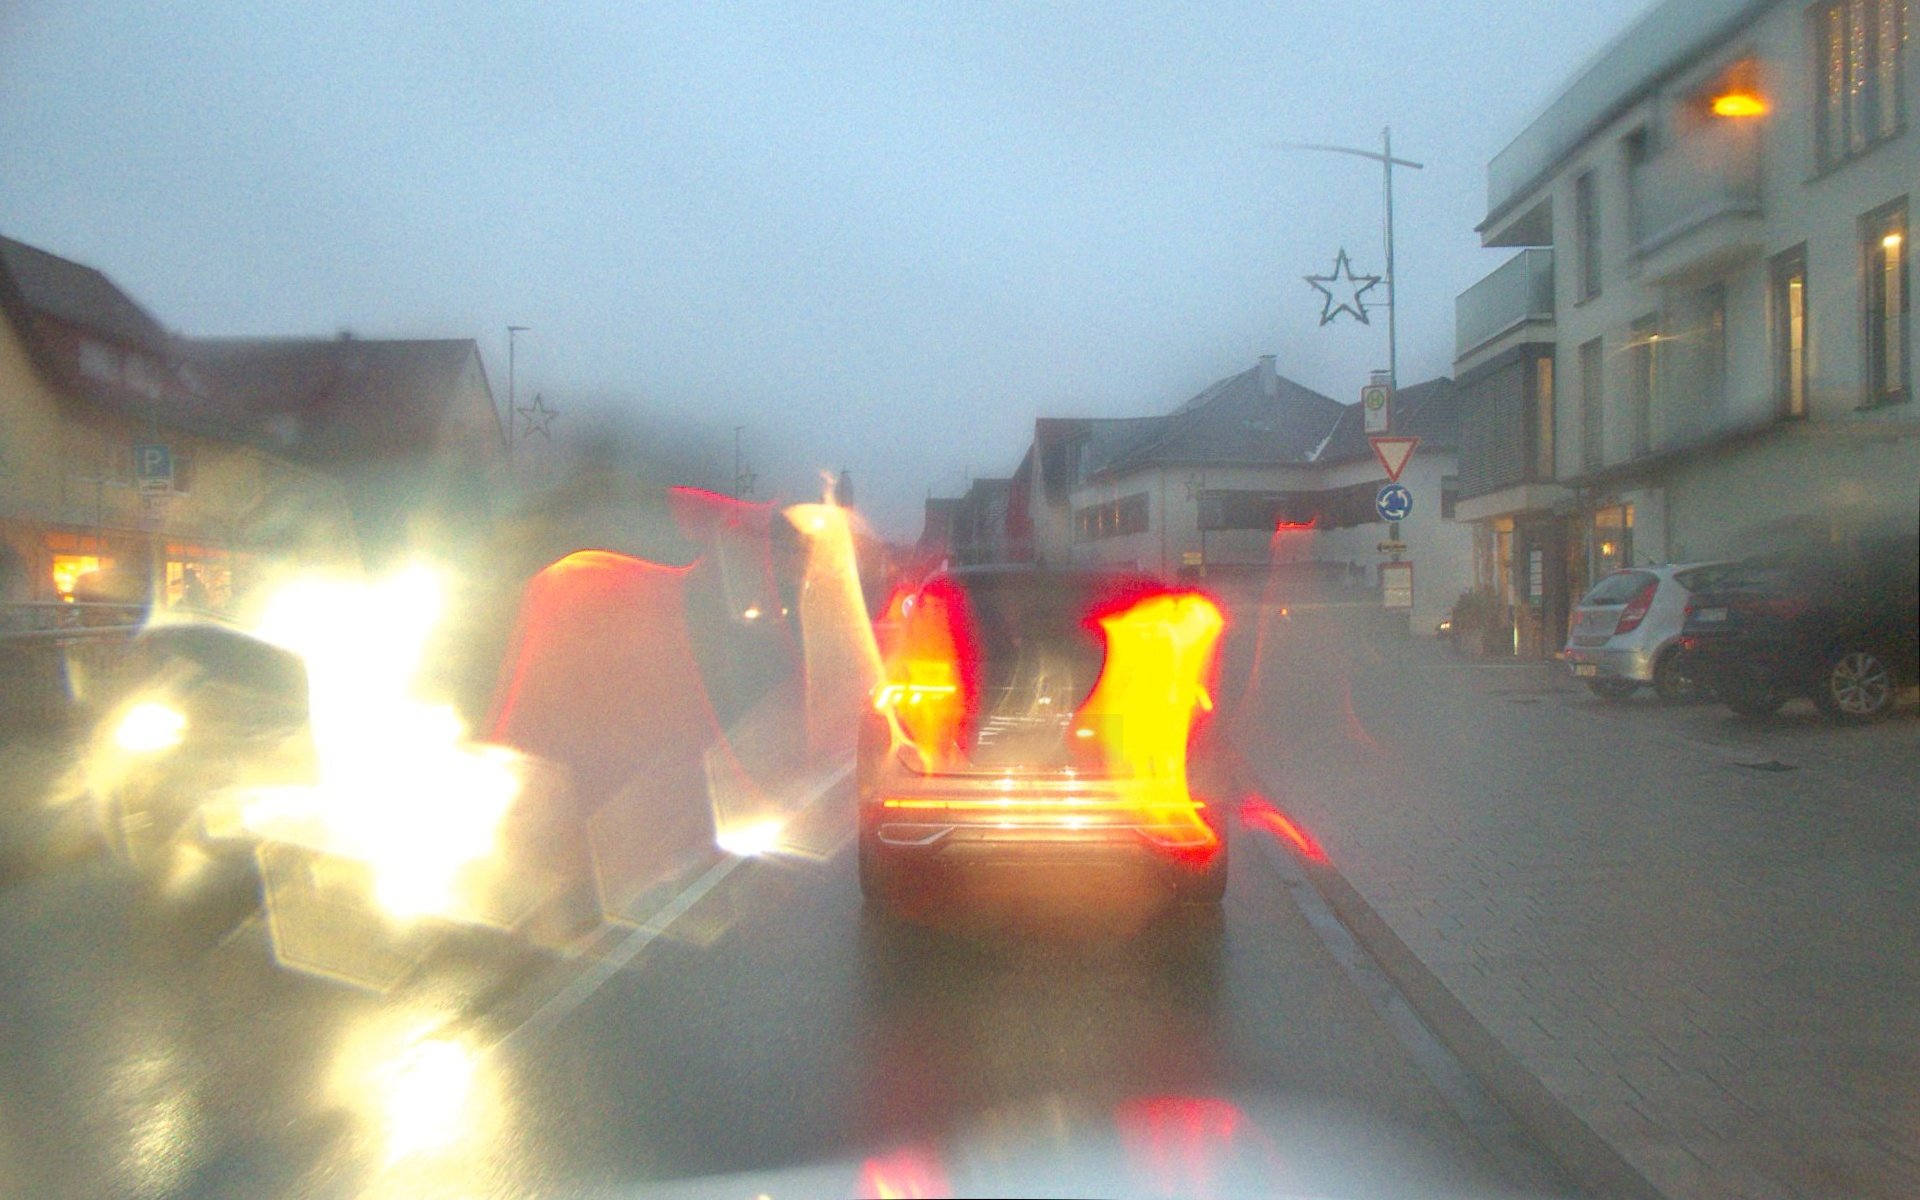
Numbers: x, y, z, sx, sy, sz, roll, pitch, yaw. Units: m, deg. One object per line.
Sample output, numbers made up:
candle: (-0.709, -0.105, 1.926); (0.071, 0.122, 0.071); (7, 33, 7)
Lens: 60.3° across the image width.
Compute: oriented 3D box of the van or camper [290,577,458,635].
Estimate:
van or camper: (-20.724, 0.211, 58.551); (5.412, 1.989, 2.002); (0, 0, 15)

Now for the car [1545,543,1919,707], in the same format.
car: (8.694, 0.226, 17.756); (4.123, 1.485, 1.791); (-3, 0, -5)

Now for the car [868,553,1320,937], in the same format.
car: (0.636, 0.607, 9.305); (1.924, 1.622, 4.314); (1, 0, 1)

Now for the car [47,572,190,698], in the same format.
car: (-14.254, 0.532, 28.166); (2.012, 1.959, 4.023); (-1, 0, -26)

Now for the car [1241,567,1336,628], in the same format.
car: (11.996, -0.092, 60.689); (2.116, 2.025, 4.494); (-4, 0, -5)

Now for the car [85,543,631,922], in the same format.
car: (-3.105, 0.575, 9.447); (1.702, 1.682, 3.999); (-1, 0, -1)

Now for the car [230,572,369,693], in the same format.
car: (-11.709, 0.513, 29.180); (2.012, 1.959, 4.023); (-1, 0, -26)

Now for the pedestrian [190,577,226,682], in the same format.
pedestrian: (-12.762, 0.494, 28.072); (0.490, 1.731, 0.707); (-2, 1, -26)

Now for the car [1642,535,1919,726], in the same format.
car: (8.484, 0.181, 14.636); (4.123, 1.485, 1.791); (-3, 0, -5)

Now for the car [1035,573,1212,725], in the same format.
car: (1.697, 0.464, 18.225); (1.647, 1.478, 4.001); (1, 0, 1)

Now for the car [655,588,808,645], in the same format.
car: (-6.493, 0.467, 46.898); (3.915, 1.442, 1.996); (-1, 2, 32)

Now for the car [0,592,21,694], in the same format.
car: (-17.110, 0.691, 28.006); (1.799, 1.641, 4.023); (-1, 0, -26)

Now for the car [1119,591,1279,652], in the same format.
car: (6.625, 0.608, 45.945); (3.929, 1.505, 1.988); (3, -2, -21)
